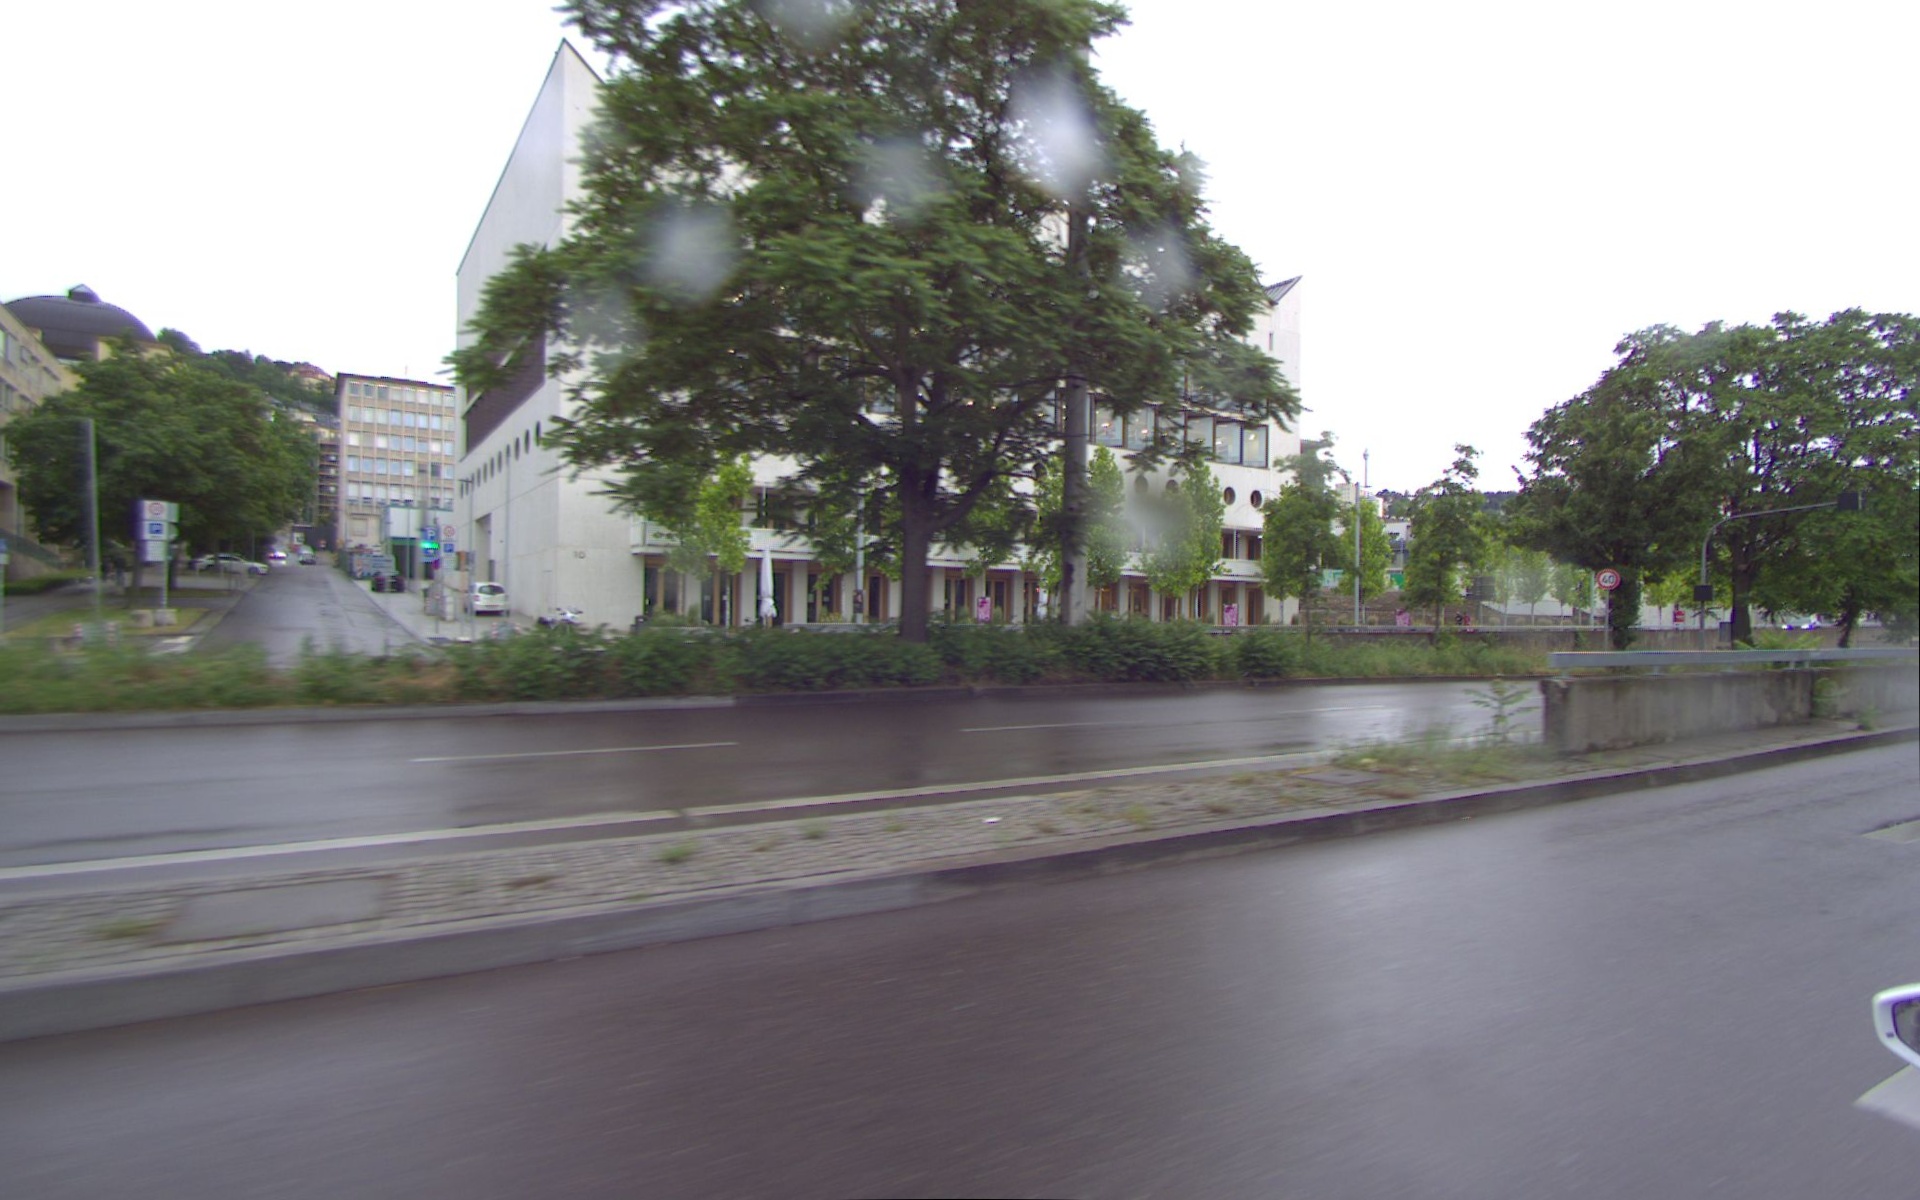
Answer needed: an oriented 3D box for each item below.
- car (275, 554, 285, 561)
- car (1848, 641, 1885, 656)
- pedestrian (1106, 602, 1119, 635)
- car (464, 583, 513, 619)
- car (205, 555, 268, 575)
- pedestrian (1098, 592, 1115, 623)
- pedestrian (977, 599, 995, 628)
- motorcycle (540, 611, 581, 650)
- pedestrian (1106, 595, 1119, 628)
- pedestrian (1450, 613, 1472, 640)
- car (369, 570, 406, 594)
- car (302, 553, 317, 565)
[{"bbox_3d":[-94.699,-5.902,139.933,0.998,0.927,2.491,2,0,-31],"label":"car"},{"bbox_3d":[72.870,3.880,80.751,3.019,1.144,1.478,2,0,-34],"label":"car"},{"bbox_3d":[8.994,1.085,59.101,0.687,1.883,0.741,2,1,10],"label":"pedestrian"},{"bbox_3d":[-22.733,0.039,48.380,1.742,1.633,3.502,2,0,-31],"label":"car"},{"bbox_3d":[-57.265,-2.744,79.583,3.923,1.383,1.594,2,0,-34],"label":"car"},{"bbox_3d":[8.949,0.438,61.525,0.691,1.883,0.737,2,1,40],"label":"pedestrian"},{"bbox_3d":[1.389,0.732,53.977,0.644,1.535,0.674,1,1,-36],"label":"pedestrian"},{"bbox_3d":[-13.331,0.999,33.509,1.791,1.198,0.603,2,1,45],"label":"motorcycle"},{"bbox_3d":[8.830,0.670,58.217,0.687,1.883,0.741,2,1,10],"label":"pedestrian"},{"bbox_3d":[35.537,1.863,71.299,0.821,1.891,1.078,1,1,-35],"label":"pedestrian"},{"bbox_3d":[-38.558,-1.229,67.619,2.015,1.480,3.699,2,0,-33],"label":"car"},{"bbox_3d":[-85.056,-5.361,131.362,1.575,1.499,3.153,2,0,-32],"label":"car"}]
